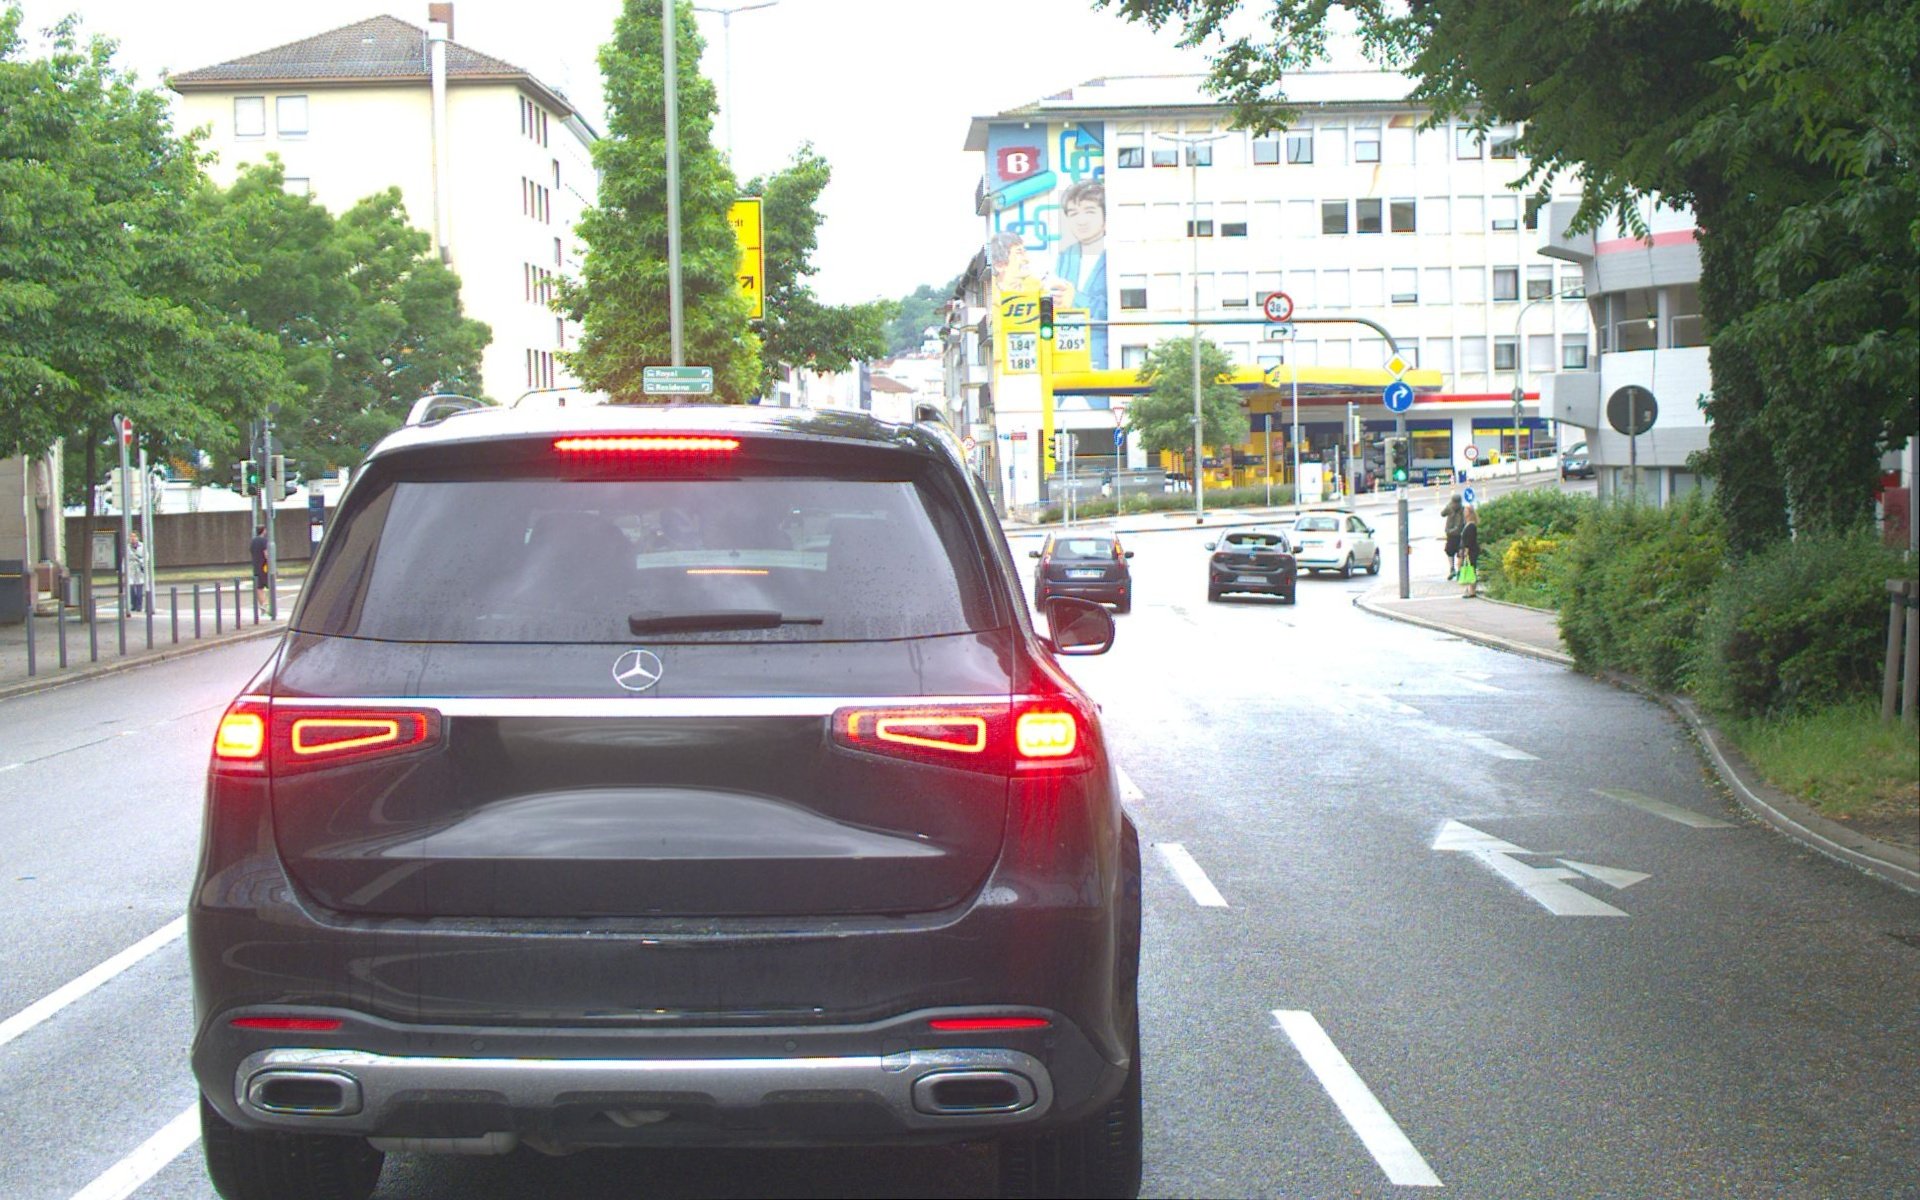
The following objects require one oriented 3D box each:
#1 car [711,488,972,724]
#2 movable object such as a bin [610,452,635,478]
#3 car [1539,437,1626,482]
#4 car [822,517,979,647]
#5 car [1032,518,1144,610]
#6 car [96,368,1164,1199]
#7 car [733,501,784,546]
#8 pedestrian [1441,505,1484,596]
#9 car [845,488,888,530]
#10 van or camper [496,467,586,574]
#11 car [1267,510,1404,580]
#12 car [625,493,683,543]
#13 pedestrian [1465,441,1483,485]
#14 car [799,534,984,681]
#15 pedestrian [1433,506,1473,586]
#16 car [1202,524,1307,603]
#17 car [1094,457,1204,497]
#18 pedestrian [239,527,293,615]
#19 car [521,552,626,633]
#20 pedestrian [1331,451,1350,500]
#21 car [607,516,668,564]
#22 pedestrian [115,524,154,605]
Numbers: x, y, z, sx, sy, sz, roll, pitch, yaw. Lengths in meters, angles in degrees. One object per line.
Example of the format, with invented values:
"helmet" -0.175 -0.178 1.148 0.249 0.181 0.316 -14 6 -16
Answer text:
"car" -0.937 0.023 28.515 1.993 1.794 4.000 1 1 -1
"movable object such as a bin" -13.849 -5.535 141.032 0.910 1.034 0.844 1 0 1
"car" 25.055 -5.674 138.302 1.997 1.700 3.993 0 2 33
"car" -0.750 -0.242 44.277 1.907 1.581 4.000 1 1 -1
"car" 2.252 -0.664 61.468 1.796 1.520 4.056 1 2 -1
"car" -0.647 0.454 8.491 1.993 1.794 4.000 1 1 -1
"car" -7.820 -2.952 133.256 1.905 1.697 4.001 1 1 -3
"pedestrian" 9.556 -0.939 65.374 0.646 1.704 0.470 1 0 36
"car" -4.598 -4.464 169.247 1.993 2.007 4.000 1 1 0
"van or camper" -10.872 -2.031 89.083 2.101 2.573 5.909 -3 1 -7
"car" 8.712 -1.257 79.464 1.757 1.543 3.994 1 1 28
"car" -10.731 -2.867 120.865 1.905 1.697 4.001 1 1 -3
"pedestrian" 20.451 -5.456 136.772 0.526 1.721 0.688 0 2 26
"car" -0.737 0.056 37.724 1.907 1.496 4.000 1 1 -1
"pedestrian" 10.587 -1.158 73.826 0.717 1.684 0.456 1 0 -6
"car" 5.817 -0.721 67.659 1.946 1.481 3.999 1 1 6
"car" 7.051 -4.595 128.525 1.732 1.371 3.998 -4 3 -44
"pedestrian" -13.585 -0.568 67.259 0.946 1.699 0.713 1 0 -17
"car" -7.585 -0.176 67.671 1.741 1.465 3.883 -3 1 -3
"pedestrian" 13.304 -4.355 120.215 0.572 1.691 0.631 1 0 1
"car" -10.362 -1.906 110.566 1.797 1.489 3.804 1 1 -3
"pedestrian" -17.163 -0.734 71.494 0.642 1.660 1.019 1 0 -6
